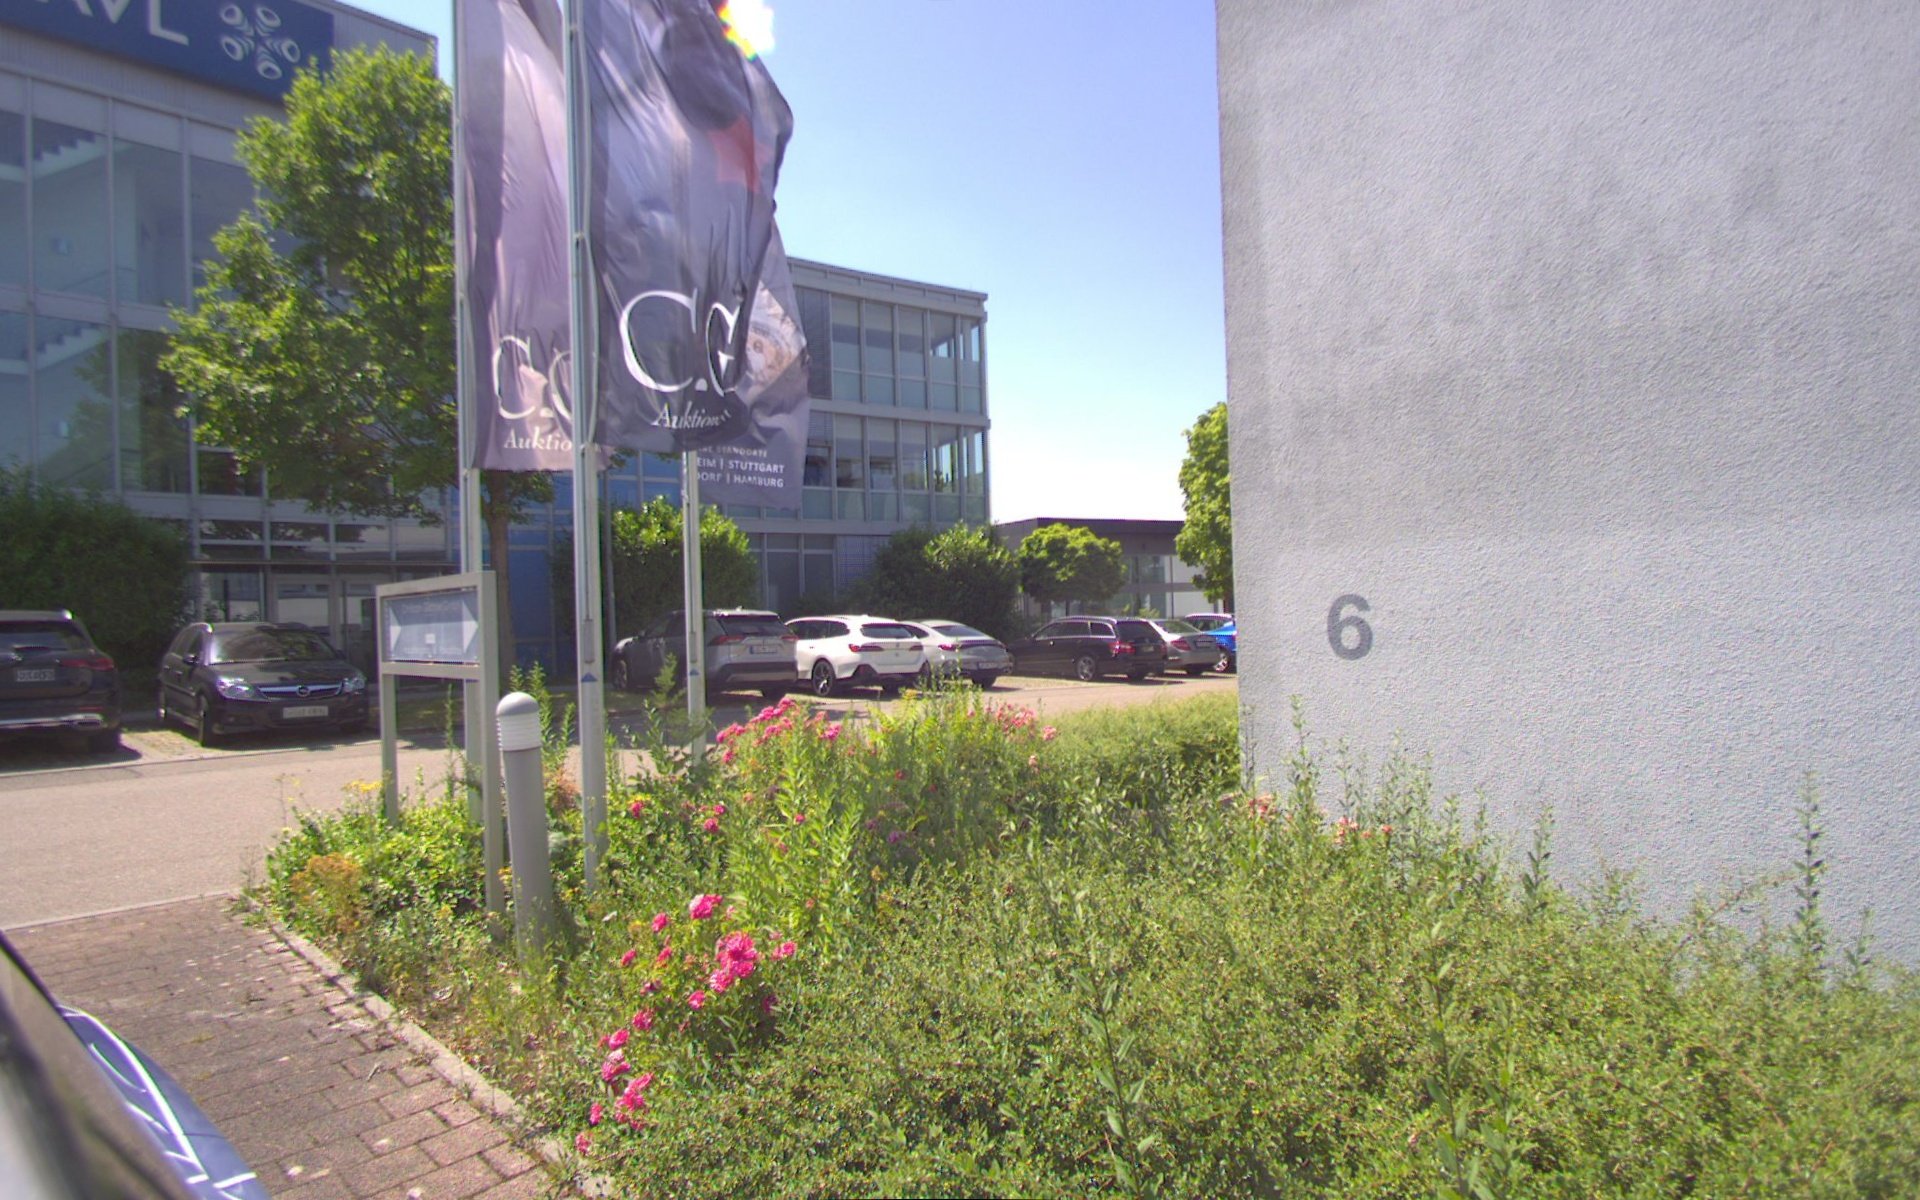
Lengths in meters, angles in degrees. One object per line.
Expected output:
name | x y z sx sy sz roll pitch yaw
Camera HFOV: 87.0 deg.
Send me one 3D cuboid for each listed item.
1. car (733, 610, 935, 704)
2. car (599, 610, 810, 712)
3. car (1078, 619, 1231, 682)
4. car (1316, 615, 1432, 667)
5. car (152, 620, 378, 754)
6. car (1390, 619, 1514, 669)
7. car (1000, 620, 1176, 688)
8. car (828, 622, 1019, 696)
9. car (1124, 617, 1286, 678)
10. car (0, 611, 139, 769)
car | -2.576 1.042 19.929 1.806 1.650 4.174 1 -2 -44
car | -4.731 1.027 18.439 4.172 1.650 1.807 -2 -2 44
car | 4.904 1.232 26.098 1.722 1.435 4.185 0 -1 -25
car | 12.590 1.212 30.900 1.523 1.435 3.009 0 0 -27
car | -9.471 1.047 13.645 4.398 1.495 1.706 -2 -1 44
car | 15.105 1.320 31.200 1.523 1.435 3.099 0 -1 -27
car | 2.967 1.220 24.169 1.724 1.435 4.180 1 -1 -38
car | -0.868 1.179 21.570 1.727 1.411 4.174 1 -2 -44
car | 6.595 1.228 27.631 1.724 1.435 4.181 0 0 -36
car | -11.090 0.940 11.725 3.859 1.615 1.912 -1 -2 43
